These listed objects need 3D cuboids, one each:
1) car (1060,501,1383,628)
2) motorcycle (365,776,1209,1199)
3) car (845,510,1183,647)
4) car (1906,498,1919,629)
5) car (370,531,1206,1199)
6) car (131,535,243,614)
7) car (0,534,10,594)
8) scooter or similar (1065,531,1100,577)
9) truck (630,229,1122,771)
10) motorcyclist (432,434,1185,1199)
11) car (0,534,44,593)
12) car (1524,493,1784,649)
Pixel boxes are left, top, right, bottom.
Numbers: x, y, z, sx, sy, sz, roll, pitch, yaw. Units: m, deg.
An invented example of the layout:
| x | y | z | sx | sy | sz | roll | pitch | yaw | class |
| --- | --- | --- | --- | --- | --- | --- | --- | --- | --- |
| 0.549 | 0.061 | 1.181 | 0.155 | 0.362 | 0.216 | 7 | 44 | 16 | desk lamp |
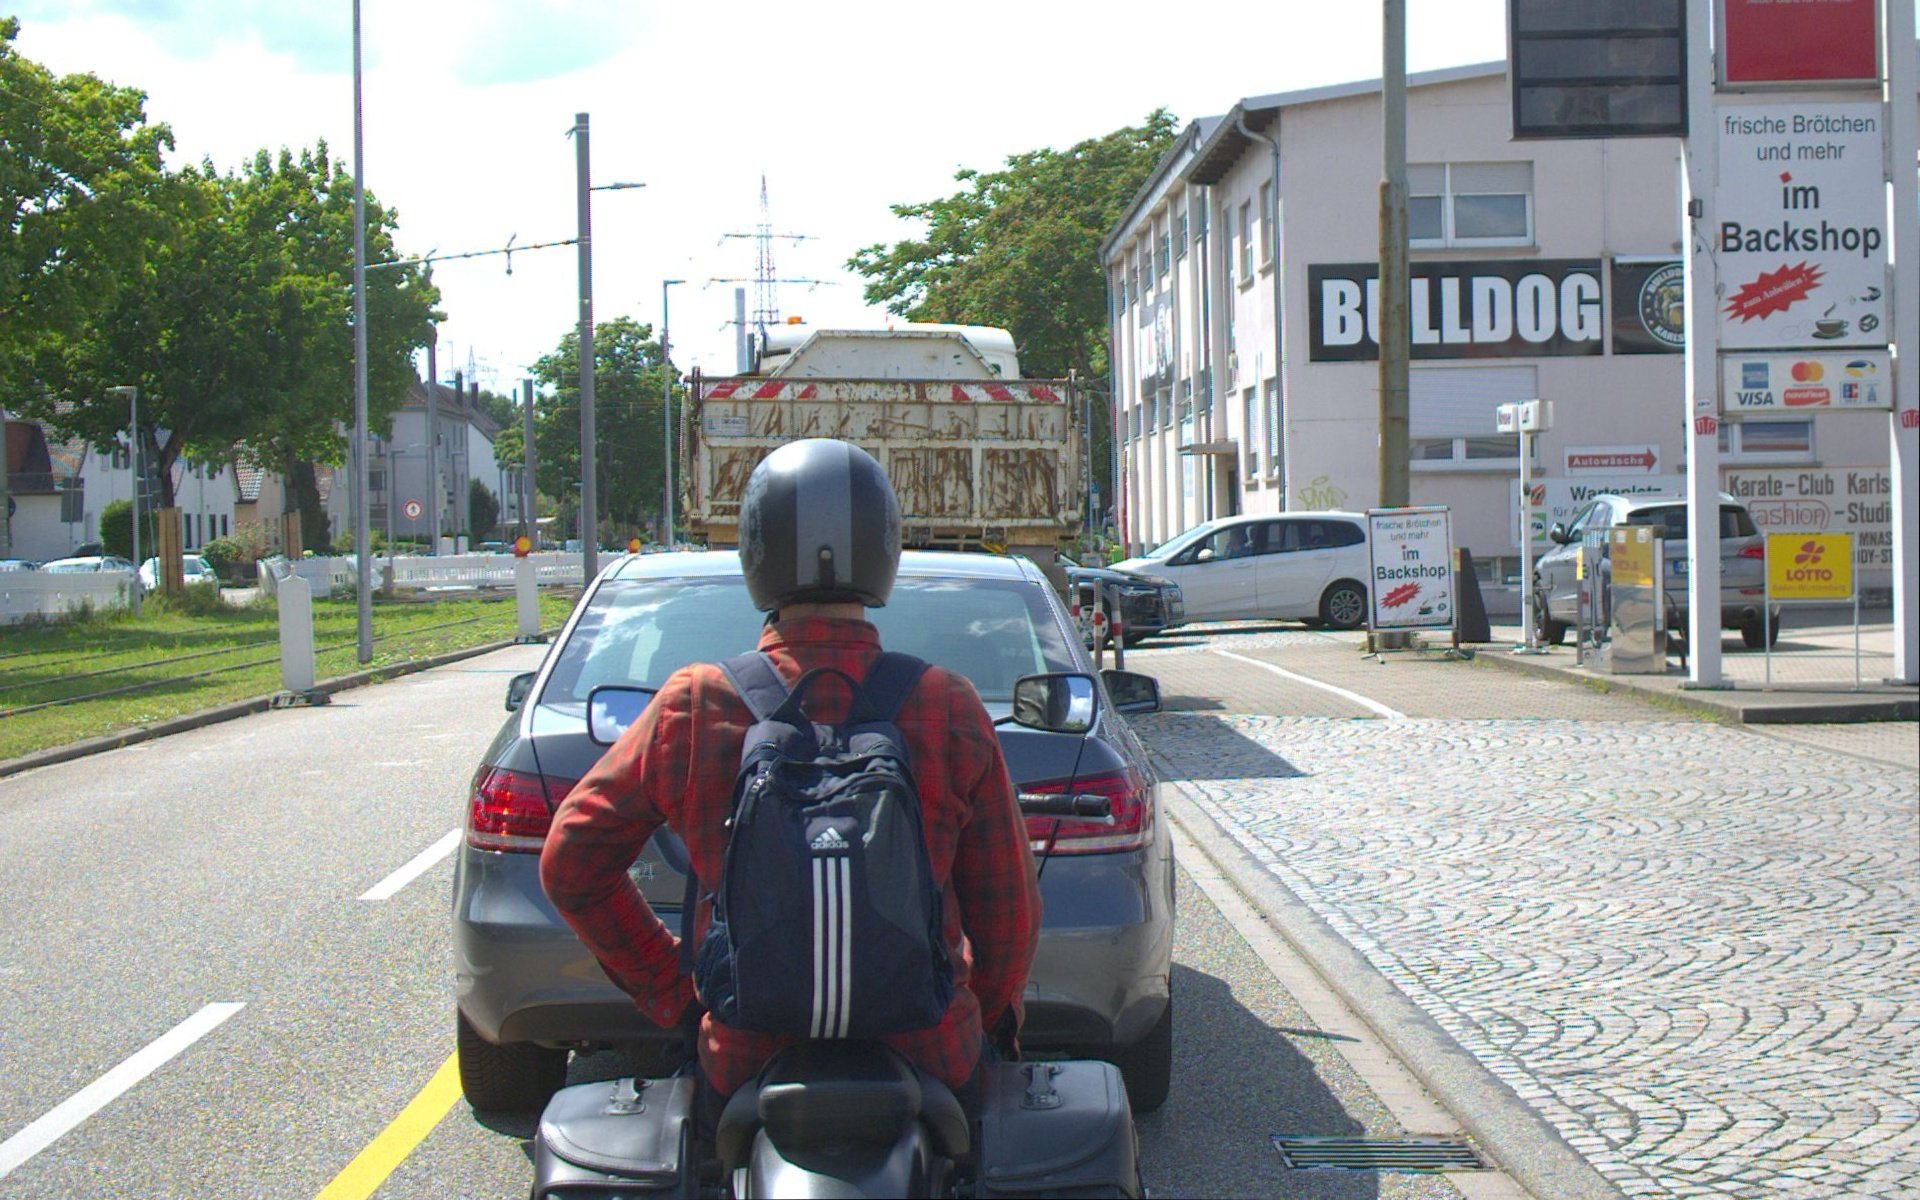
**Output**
| x | y | z | sx | sy | sz | roll | pitch | yaw | class |
| --- | --- | --- | --- | --- | --- | --- | --- | --- | --- |
| 3.548 | -0.499 | 47.032 | 4.104 | 1.619 | 1.686 | -1 | 1 | -8 | car |
| -0.218 | 0.865 | 5.209 | 0.976 | 1.010 | 2.432 | 1 | 1 | -1 | motorcycle |
| 0.709 | -0.286 | 43.426 | 4.106 | 1.619 | 1.685 | -1 | 1 | 6 | car |
| 11.786 | -0.399 | 37.245 | 1.832 | 1.474 | 4.010 | -1 | 1 | -2 | car |
| -0.439 | 0.570 | 9.697 | 1.832 | 1.474 | 4.010 | -1 | 1 | -2 | car |
| -17.945 | -0.619 | 79.946 | 1.698 | 1.733 | 3.860 | -1 | 1 | 0 | car |
| -28.673 | -0.994 | 98.579 | 1.698 | 1.733 | 4.062 | -1 | 1 | 0 | car |
| 3.100 | -1.168 | 87.257 | 0.795 | 1.141 | 1.519 | -1 | 1 | -1 | scooter or similar |
| -0.637 | -0.713 | 25.470 | 2.970 | 3.293 | 8.408 | -1 | 1 | -2 | truck |
| -0.208 | 0.590 | 5.086 | 0.969 | 1.627 | 1.215 | 1 | 1 | -1 | motorcyclist |
| -29.268 | -1.105 | 104.590 | 1.698 | 1.733 | 4.062 | -1 | 1 | 0 | car |
| 7.322 | -0.339 | 36.647 | 1.832 | 1.530 | 4.010 | -1 | 1 | -2 | car |
